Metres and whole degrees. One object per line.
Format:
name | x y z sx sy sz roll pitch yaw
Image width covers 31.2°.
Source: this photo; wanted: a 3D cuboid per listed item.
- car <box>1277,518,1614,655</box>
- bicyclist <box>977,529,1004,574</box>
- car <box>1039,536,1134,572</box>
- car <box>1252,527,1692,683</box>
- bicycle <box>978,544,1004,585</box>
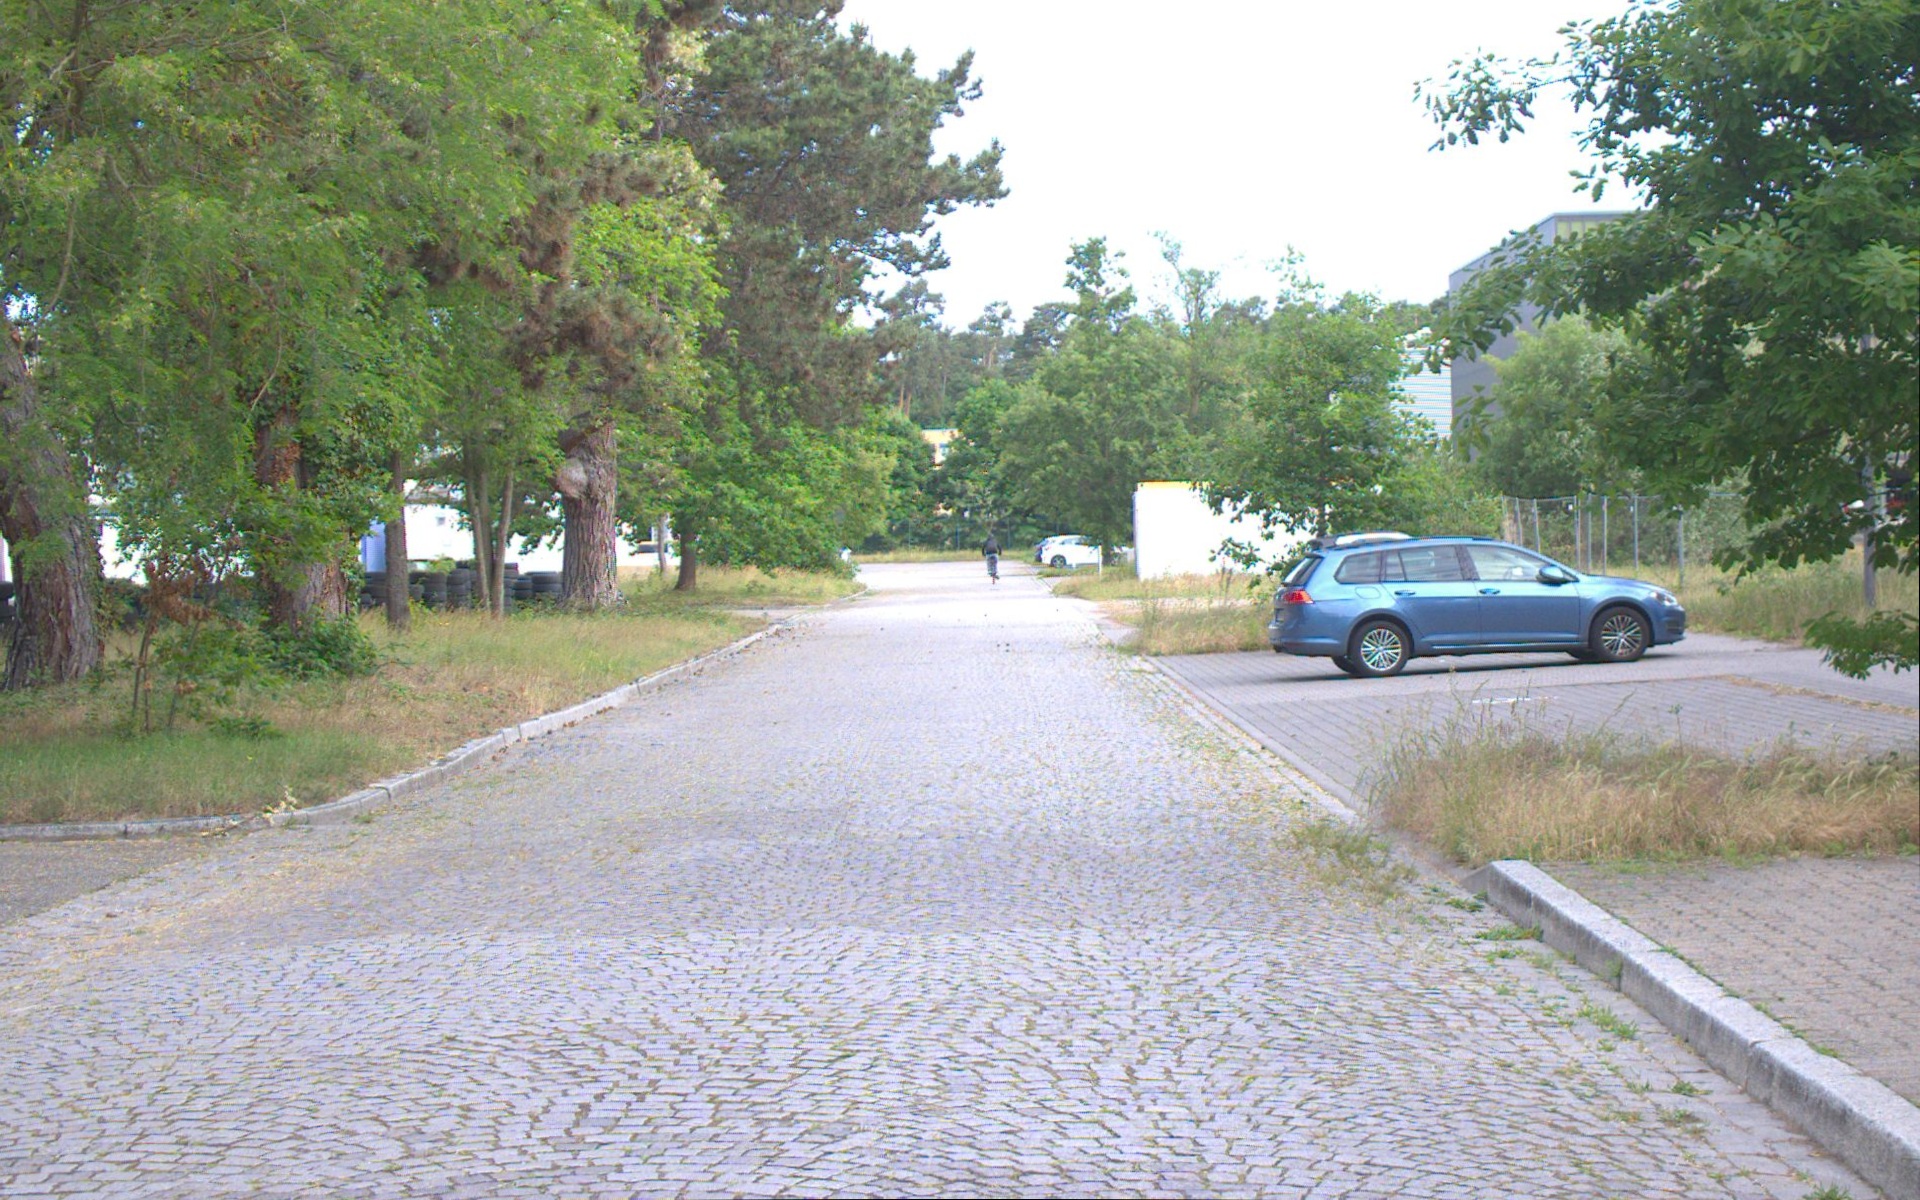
car | 6.390 -0.191 45.525 4.107 1.567 1.765 -3 1 -2
bicyclist | 1.077 -1.683 119.916 0.897 1.537 0.868 -1 2 -1
car | 5.792 -2.115 157.897 4.322 1.544 2.000 -1 1 2
car | 5.611 0.036 38.083 4.480 1.457 1.935 -3 1 -2
bicycle | 1.081 -1.249 119.942 0.823 1.372 2.043 -1 2 -1
